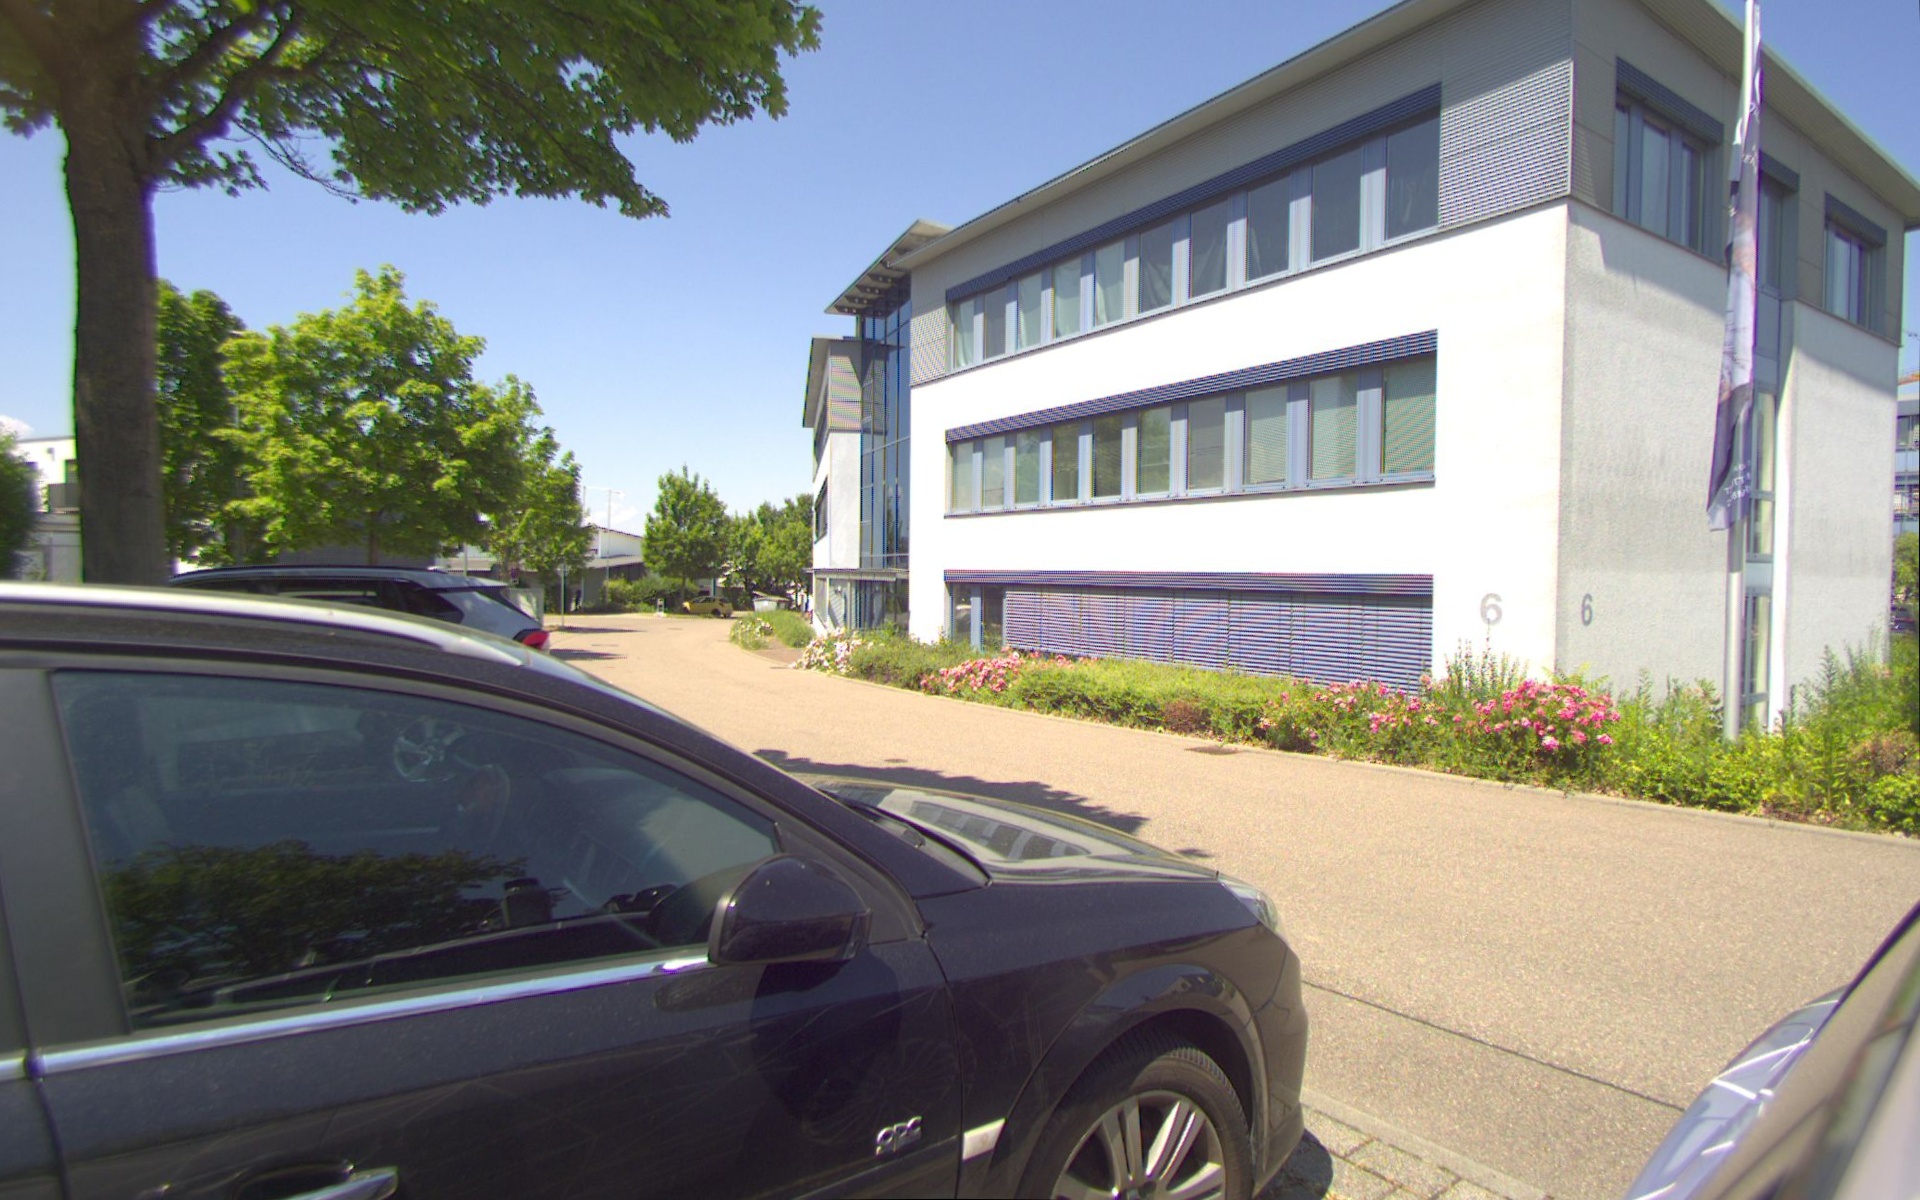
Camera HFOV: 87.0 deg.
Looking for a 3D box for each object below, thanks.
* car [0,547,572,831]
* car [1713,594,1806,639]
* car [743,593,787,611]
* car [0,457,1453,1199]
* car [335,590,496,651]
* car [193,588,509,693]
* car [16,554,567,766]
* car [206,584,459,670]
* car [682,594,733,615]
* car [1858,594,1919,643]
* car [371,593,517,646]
[{"bbox_3d":[-5.266,0.538,7.335,4.249,1.664,1.857,1,-1,-35],"label":"car"},{"bbox_3d":[30.082,0.579,38.040,3.926,1.565,1.788,-1,0,-37],"label":"car"},{"bbox_3d":[-15.870,0.155,82.253,3.171,1.460,1.581,0,0,18],"label":"car"},{"bbox_3d":[-1.096,0.650,1.838,4.481,1.569,1.763,0,0,-37],"label":"car"},{"bbox_3d":[-14.463,0.557,27.089,3.514,1.545,1.639,1,-1,-17],"label":"car"},{"bbox_3d":[-9.514,0.616,16.167,4.092,1.505,1.663,1,-1,-27],"label":"car"},{"bbox_3d":[-6.188,0.506,9.835,4.123,1.664,1.661,1,-1,-35],"label":"car"},{"bbox_3d":[-12.596,0.550,20.615,4.090,1.625,1.664,1,-1,-21],"label":"car"},{"bbox_3d":[-17.693,0.310,70.935,3.171,1.460,1.581,0,0,18],"label":"car"},{"bbox_3d":[32.468,0.597,34.665,3.926,1.565,1.788,-1,0,-37],"label":"car"},{"bbox_3d":[-14.922,0.567,29.436,3.514,1.461,1.639,1,-1,-17],"label":"car"}]
